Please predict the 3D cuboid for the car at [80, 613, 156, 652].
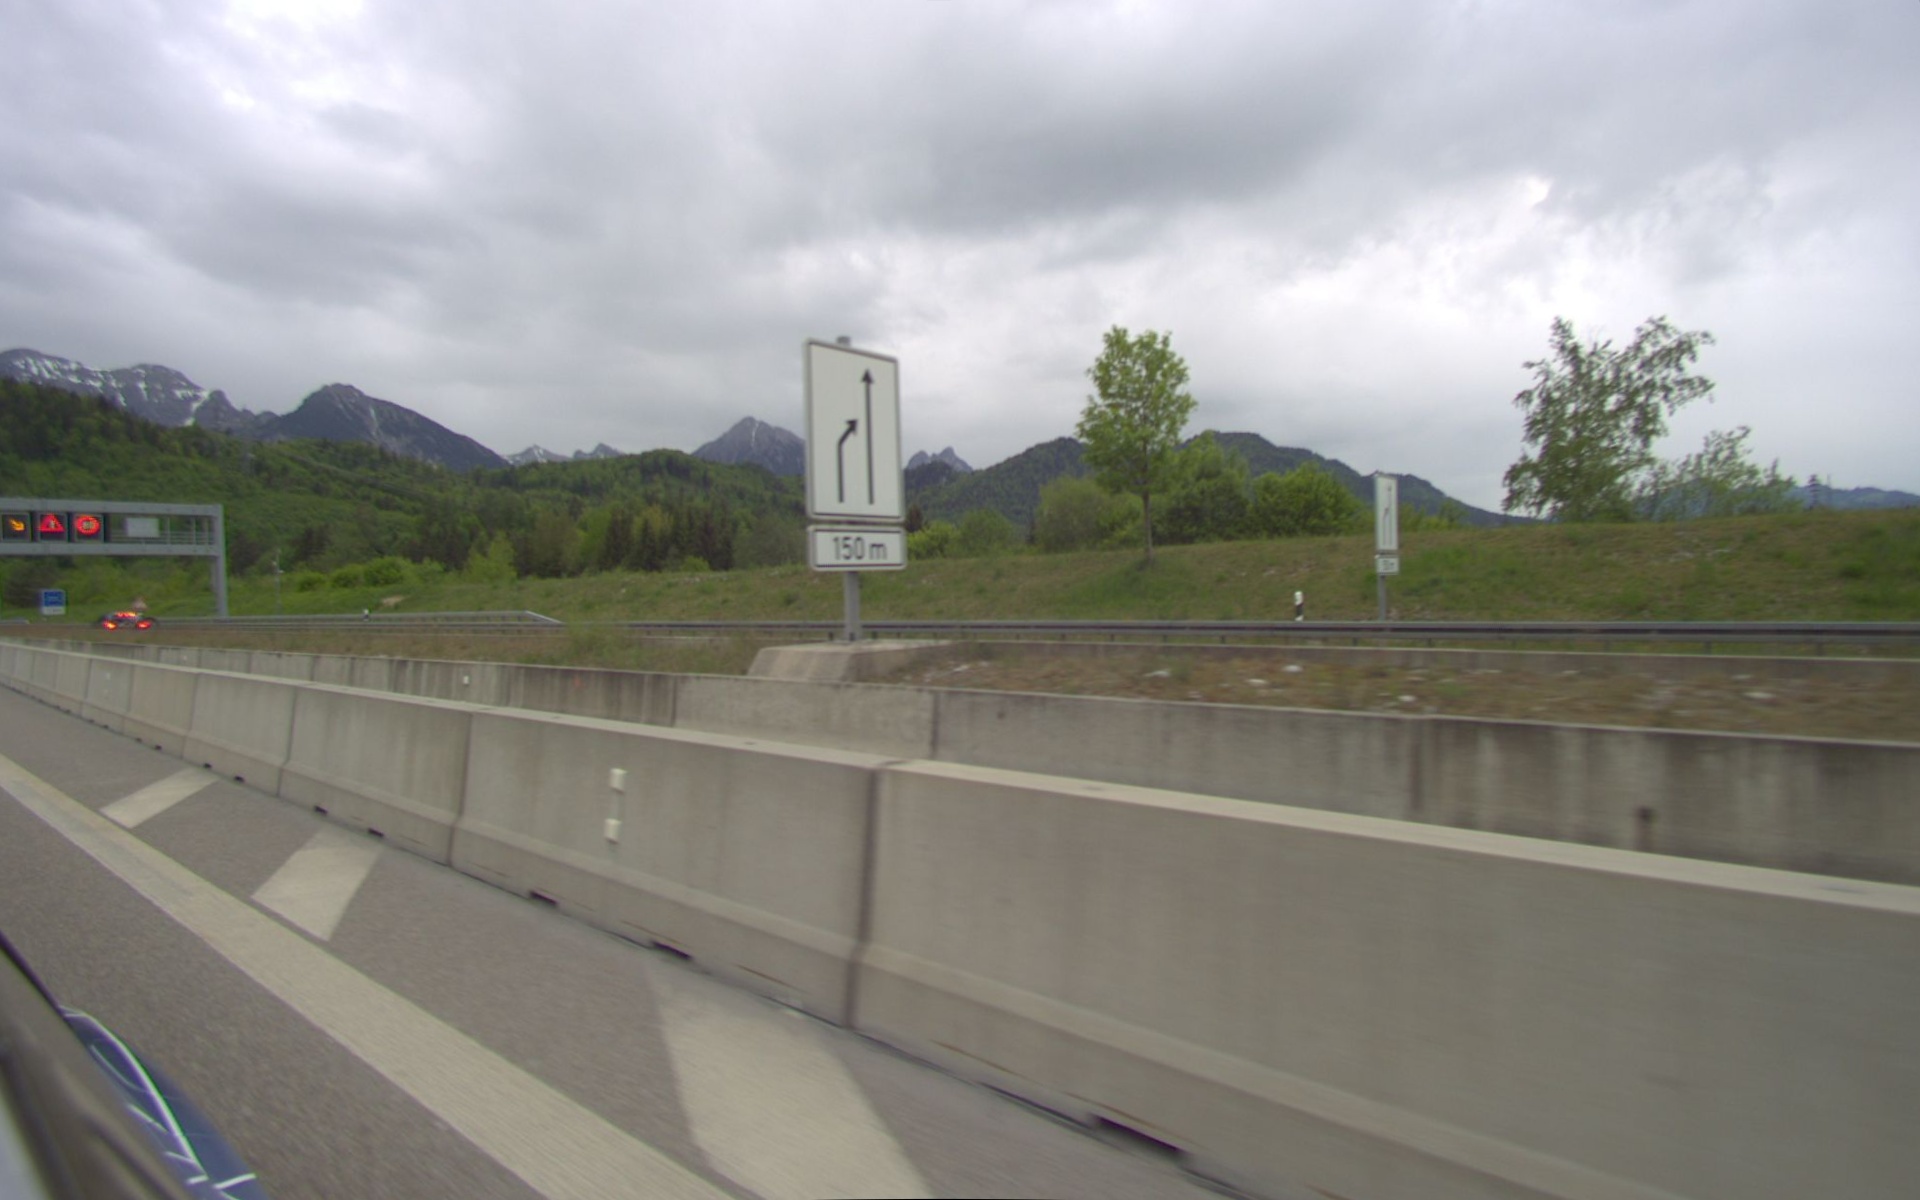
[{"bbox_3d":[-40.870,1.574,49.084,5.747,1.749,1.859,-2,0,40],"label":"car"}]
